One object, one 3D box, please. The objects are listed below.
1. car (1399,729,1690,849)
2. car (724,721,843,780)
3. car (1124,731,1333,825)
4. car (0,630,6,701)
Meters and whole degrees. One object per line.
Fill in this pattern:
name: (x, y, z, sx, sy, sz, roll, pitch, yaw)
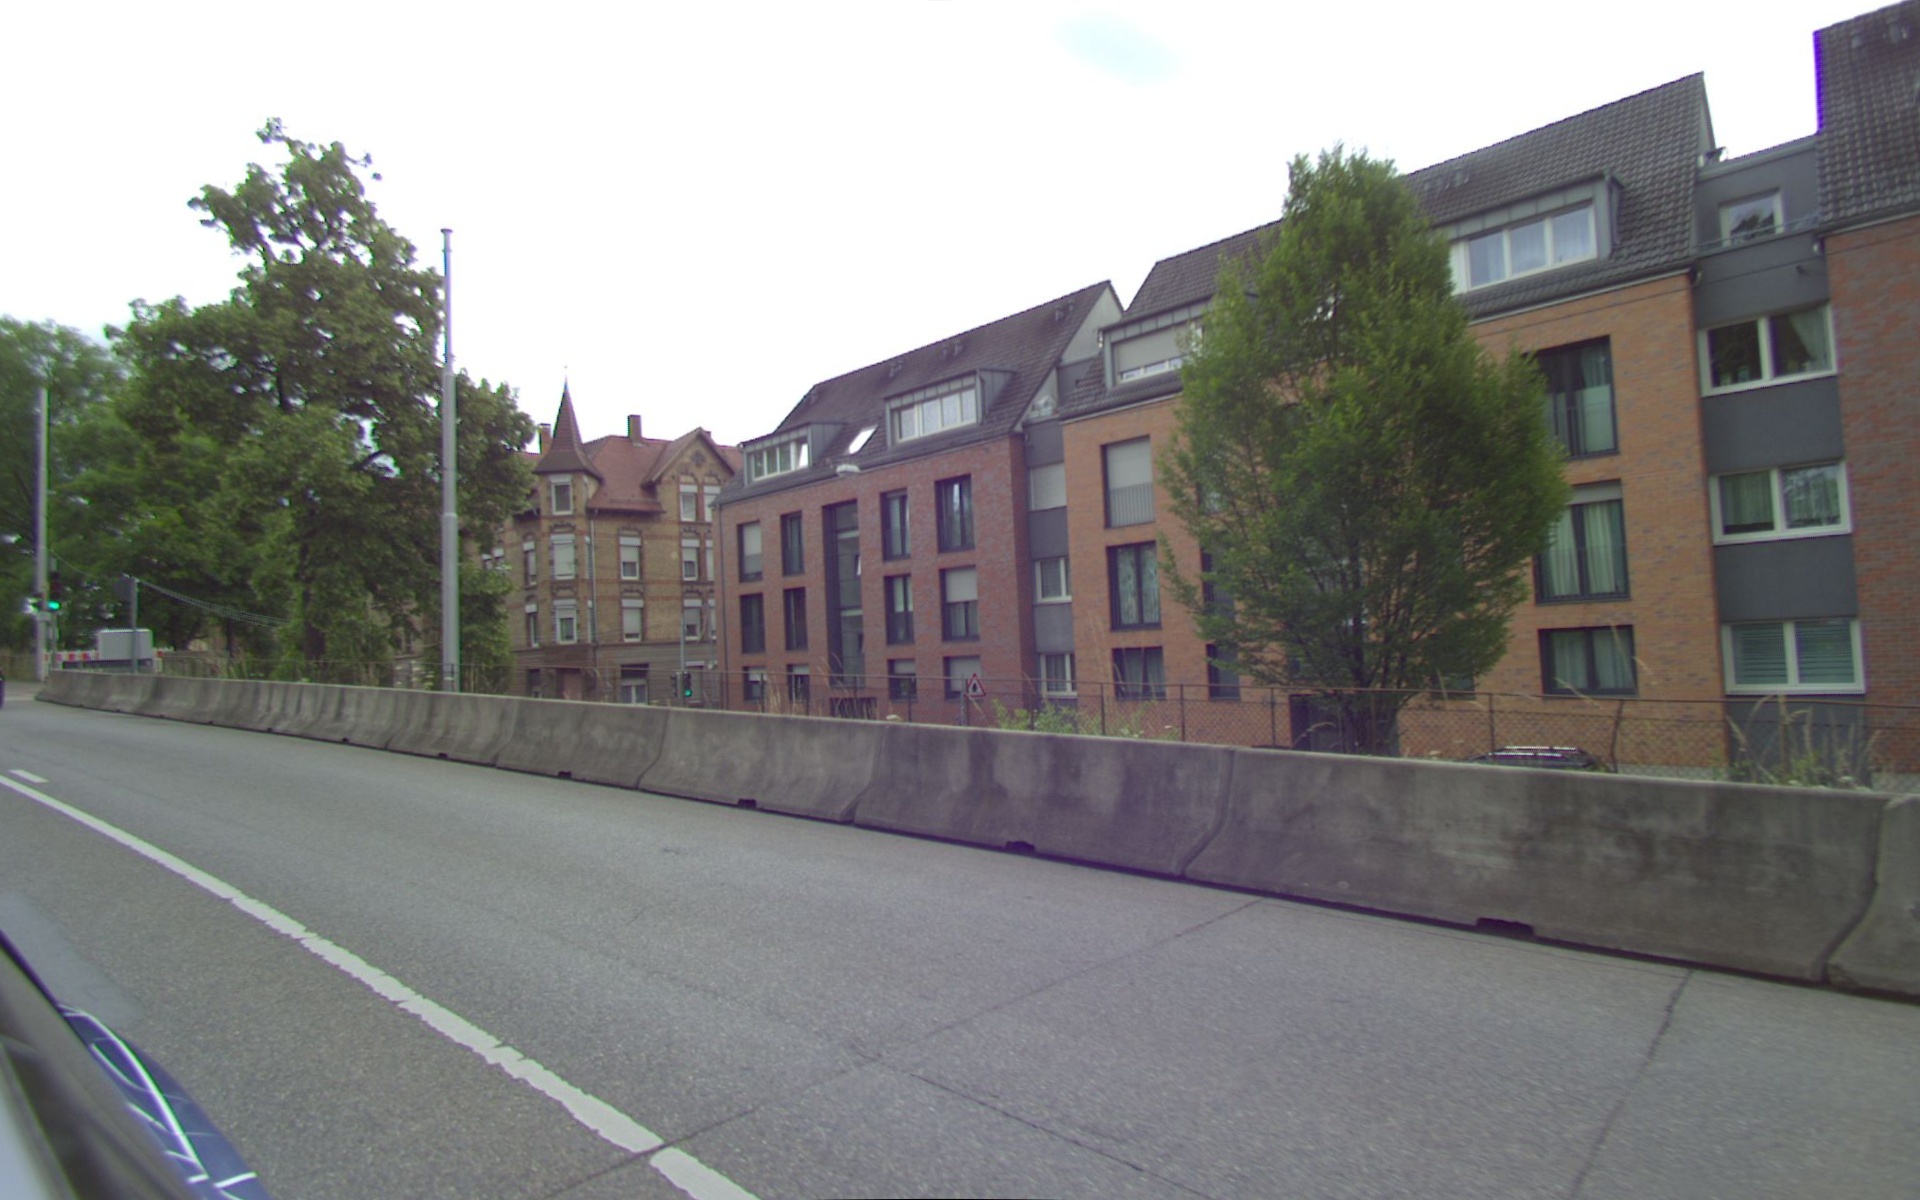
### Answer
car: (9.945, 3.131, 17.427, 4.001, 1.522, 1.774, -3, -5, 45)
car: (-5.777, 4.837, 32.905, 4.001, 1.522, 1.774, -3, -5, 44)
car: (5.709, 3.734, 21.812, 4.001, 1.522, 1.774, -3, -5, 45)
car: (-23.847, 1.529, 23.361, 4.368, 1.587, 1.963, -3, -5, 38)
